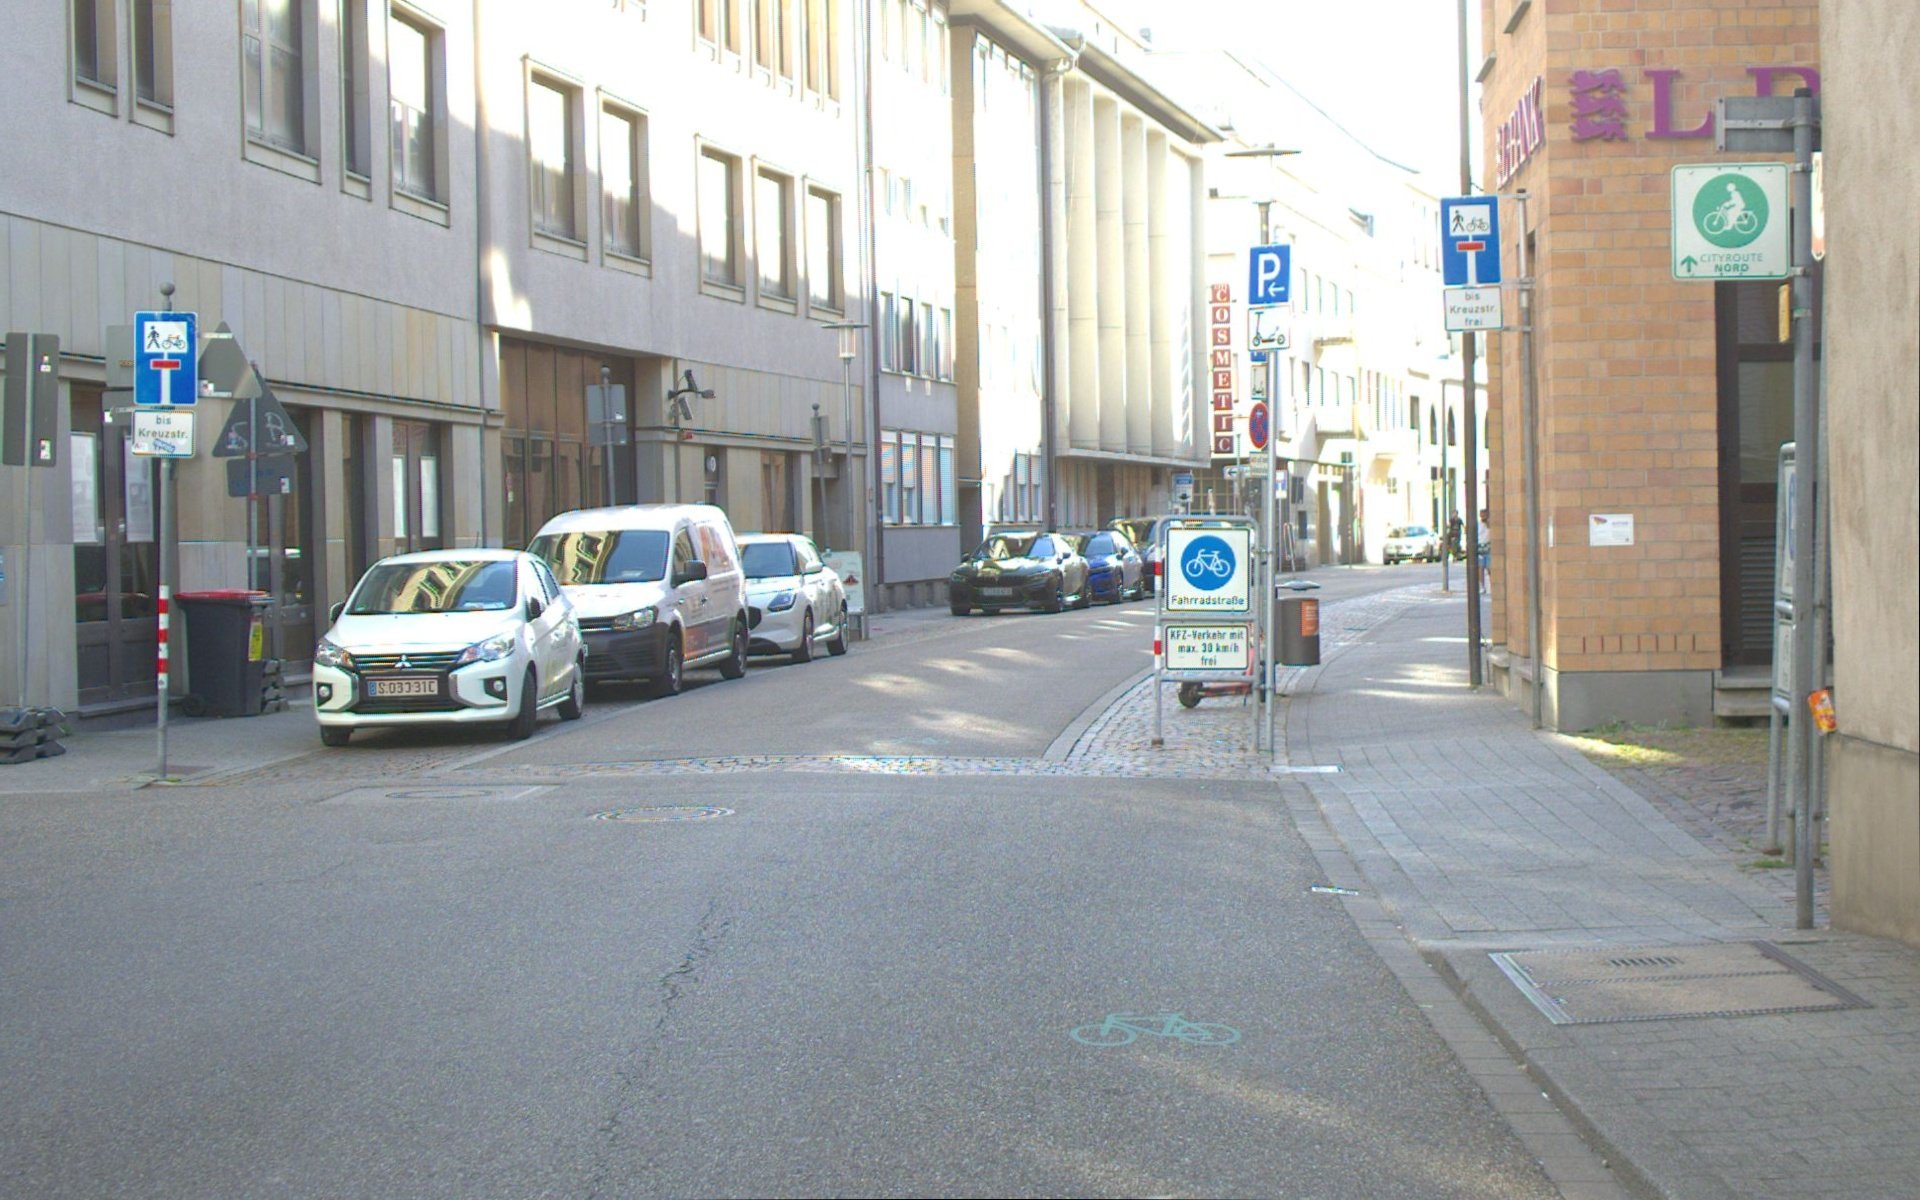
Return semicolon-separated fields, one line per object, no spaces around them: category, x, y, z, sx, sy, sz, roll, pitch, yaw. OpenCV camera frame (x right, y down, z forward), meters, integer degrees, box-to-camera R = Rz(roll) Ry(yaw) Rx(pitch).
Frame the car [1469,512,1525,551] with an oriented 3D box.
car;19.654;-2.515;125.734;1.690;1.365;3.616;-1;1;13

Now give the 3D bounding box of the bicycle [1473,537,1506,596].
bicycle;9.348;-0.607;60.700;0.511;0.990;2.647;-1;1;8

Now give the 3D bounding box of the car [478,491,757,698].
car;-3.258;-0.112;33.602;1.671;1.812;4.551;-3;1;7

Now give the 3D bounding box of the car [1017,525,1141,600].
car;2.330;-0.746;66.430;1.725;1.336;3.998;-2;1;11

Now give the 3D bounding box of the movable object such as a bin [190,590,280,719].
movable object such as a bin;-6.108;0.452;28.991;0.608;1.057;0.713;1;1;-1

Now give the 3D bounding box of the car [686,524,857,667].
car;-2.136;-0.085;39.756;1.271;1.501;3.401;-3;1;8

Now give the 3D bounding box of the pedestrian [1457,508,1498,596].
pedestrian;10.295;-0.963;68.372;0.664;1.724;0.840;1;1;1

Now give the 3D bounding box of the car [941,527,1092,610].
car;1.025;-0.575;60.083;1.882;1.327;4.099;-1;1;11

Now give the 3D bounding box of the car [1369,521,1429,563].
car;15.512;-2.068;121.472;1.690;1.365;3.616;-1;1;13

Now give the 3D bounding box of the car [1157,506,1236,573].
car;5.503;-1.421;79.763;1.339;1.489;3.508;-1;1;11

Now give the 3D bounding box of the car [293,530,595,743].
car;-4.086;0.237;27.767;1.670;1.501;3.794;-3;1;2

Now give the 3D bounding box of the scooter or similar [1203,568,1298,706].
scooter or similar;2.438;0.308;28.877;0.771;1.132;0.269;1;1;4

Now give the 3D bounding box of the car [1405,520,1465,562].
car;16.514;-2.066;119.395;1.690;1.365;3.616;-1;1;13
